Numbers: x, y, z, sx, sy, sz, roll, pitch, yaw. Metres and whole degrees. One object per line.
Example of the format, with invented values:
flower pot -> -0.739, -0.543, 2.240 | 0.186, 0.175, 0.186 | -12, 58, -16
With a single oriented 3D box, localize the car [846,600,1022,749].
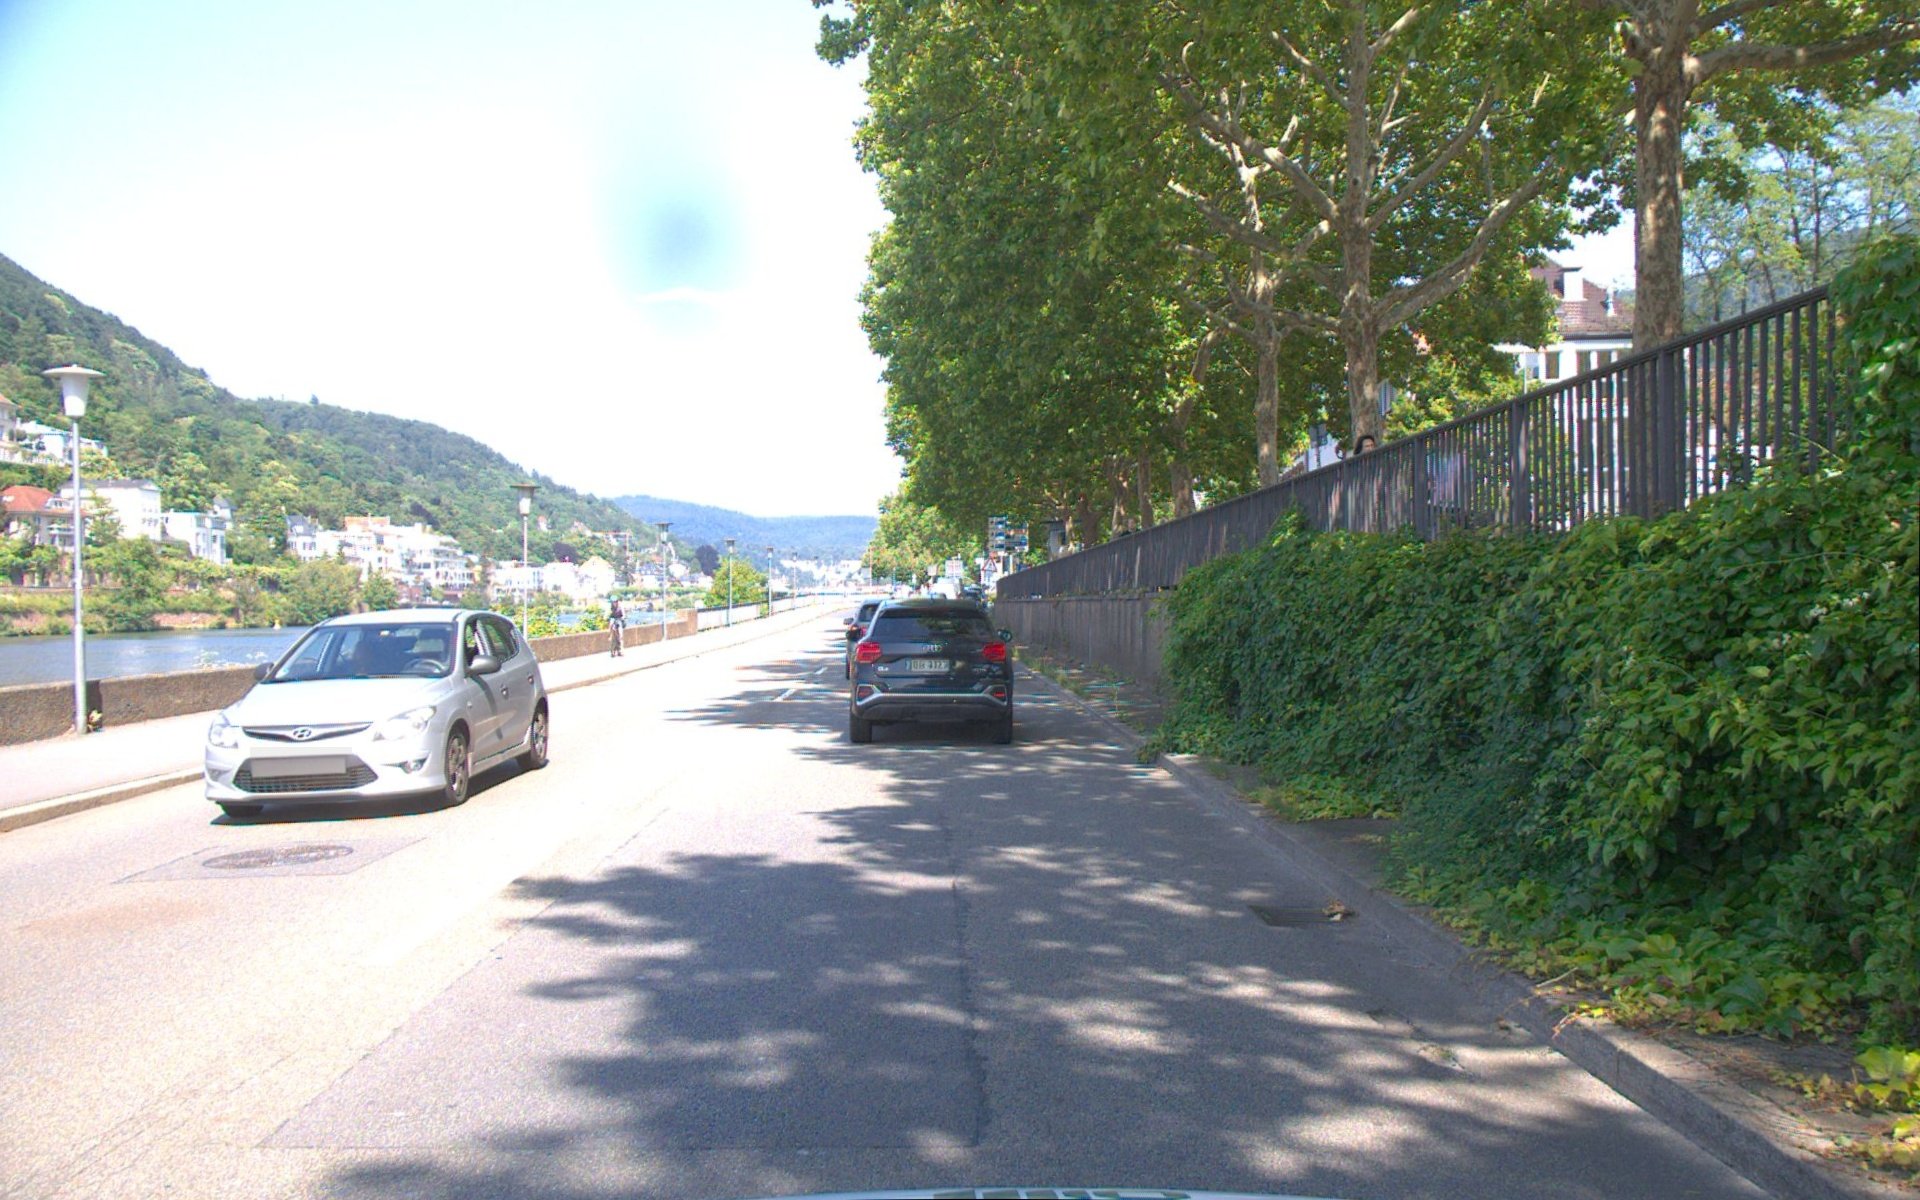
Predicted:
car -> -0.337, 0.760, 18.853 | 1.791, 1.512, 3.998 | 0, 0, -2

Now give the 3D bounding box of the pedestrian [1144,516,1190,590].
pedestrian -> 4.026, -0.905, 32.174 | 0.667, 1.389, 0.989 | -3, 0, -2

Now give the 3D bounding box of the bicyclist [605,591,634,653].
bicyclist -> -9.462, 0.604, 45.996 | 0.624, 1.703, 0.870 | -1, 0, -2

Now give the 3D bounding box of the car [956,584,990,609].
car -> 1.105, -0.297, 144.898 | 2.608, 2.048, 5.822 | -3, 0, -2

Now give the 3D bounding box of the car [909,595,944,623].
car -> -1.798, 0.466, 87.852 | 1.791, 1.470, 3.998 | 0, 0, -2

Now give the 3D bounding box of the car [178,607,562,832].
car -> -4.575, 0.836, 13.488 | 1.696, 1.467, 4.044 | -2, 0, -1

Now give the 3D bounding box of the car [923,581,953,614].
car -> -1.546, -0.196, 114.350 | 1.953, 2.207, 3.998 | 0, 0, -2

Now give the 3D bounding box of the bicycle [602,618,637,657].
bicycle -> -9.433, 1.020, 45.914 | 0.620, 1.029, 1.985 | -1, 0, -2

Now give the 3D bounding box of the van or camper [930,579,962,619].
van or camper -> -1.034, -0.105, 123.211 | 2.263, 2.897, 4.245 | -1, 0, 0

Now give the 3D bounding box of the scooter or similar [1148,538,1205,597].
scooter or similar -> 4.105, -0.605, 31.394 | 0.838, 1.044, 1.107 | -3, 0, -2

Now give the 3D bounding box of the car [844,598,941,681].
car -> -1.331, 0.731, 32.893 | 1.791, 1.537, 3.998 | 0, 0, -2

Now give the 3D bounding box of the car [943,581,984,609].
car -> 0.242, -0.401, 134.700 | 3.036, 2.048, 5.822 | -3, 0, -2

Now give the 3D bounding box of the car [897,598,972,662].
car -> -0.689, 0.721, 41.588 | 1.791, 1.512, 3.998 | 0, 0, -2

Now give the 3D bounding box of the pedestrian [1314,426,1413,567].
pedestrian -> 4.226, -1.072, 17.373 | 0.738, 1.389, 0.813 | -3, 0, -4

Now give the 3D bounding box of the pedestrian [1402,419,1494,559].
pedestrian -> 5.131, -1.150, 17.421 | 0.631, 1.389, 0.794 | -3, 0, -4

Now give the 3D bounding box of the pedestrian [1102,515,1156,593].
pedestrian -> 3.656, -0.989, 35.858 | 0.918, 1.607, 1.027 | -3, 0, -4
